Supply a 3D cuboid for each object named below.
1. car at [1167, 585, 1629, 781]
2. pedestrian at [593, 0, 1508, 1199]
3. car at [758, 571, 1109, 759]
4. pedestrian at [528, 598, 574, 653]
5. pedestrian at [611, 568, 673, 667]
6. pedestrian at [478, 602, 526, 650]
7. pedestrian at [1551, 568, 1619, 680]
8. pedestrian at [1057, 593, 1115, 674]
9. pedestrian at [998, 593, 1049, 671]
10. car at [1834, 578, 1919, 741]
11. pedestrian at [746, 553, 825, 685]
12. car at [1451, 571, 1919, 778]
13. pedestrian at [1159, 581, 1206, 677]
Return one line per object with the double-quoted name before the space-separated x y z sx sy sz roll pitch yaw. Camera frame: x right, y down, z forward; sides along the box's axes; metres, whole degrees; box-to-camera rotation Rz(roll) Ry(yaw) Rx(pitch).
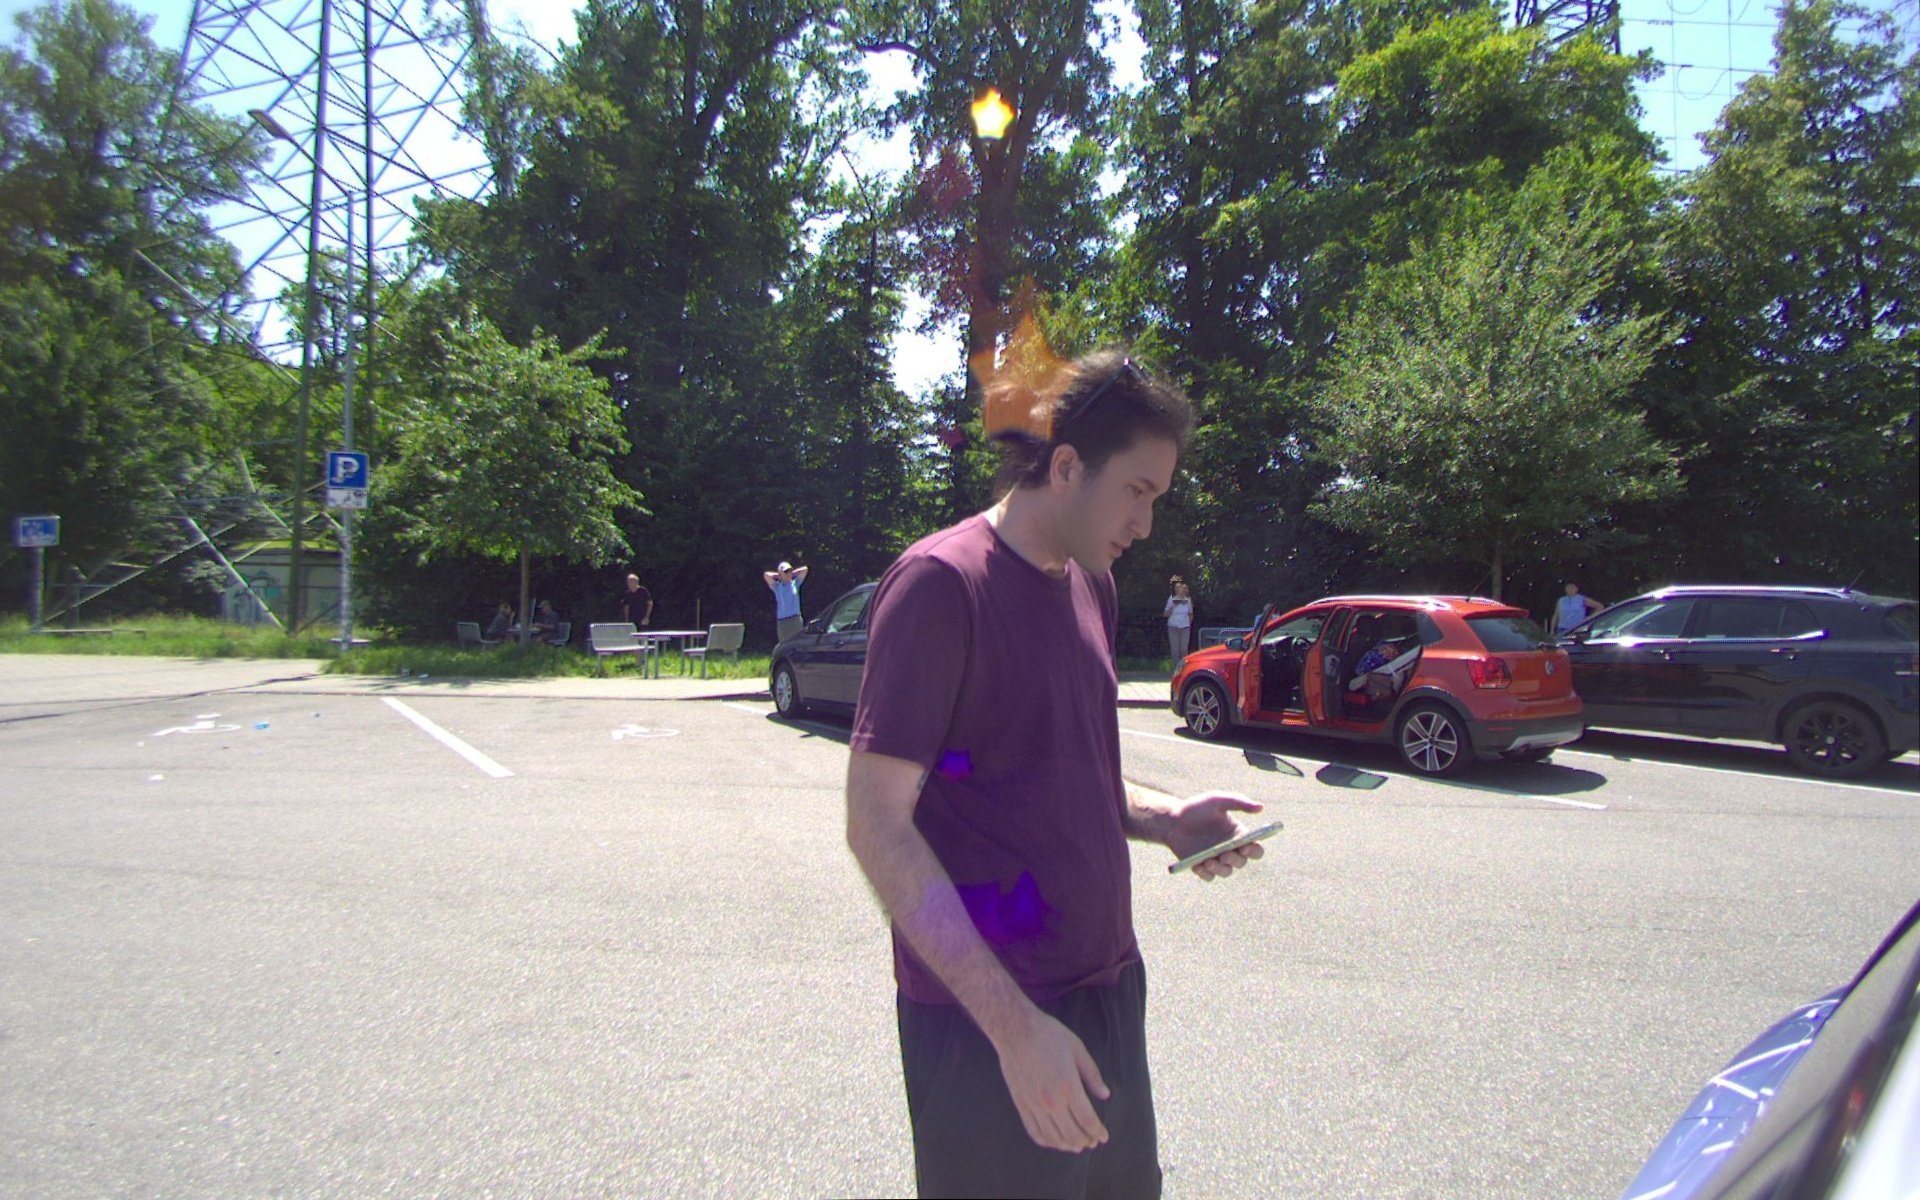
"car" 3.936 0.621 9.653 1.746 1.475 3.710 1 0 -33
"pedestrian" 0.139 0.456 1.360 0.828 1.797 0.926 0 -1 45
"car" -0.475 0.545 10.701 1.809 1.588 4.017 1 0 -35
"pedestrian" -9.556 0.583 23.643 0.796 1.253 0.713 1 -1 -44
"pedestrian" -6.144 0.325 19.578 0.708 1.851 0.896 0 -1 26
"pedestrian" -10.347 0.572 22.881 0.796 1.062 0.714 1 -1 -43
"pedestrian" 9.324 0.345 15.091 0.713 1.614 0.797 0 -1 44
"pedestrian" 2.094 0.547 16.892 0.656 1.311 0.832 1 -1 -17
"pedestrian" 1.066 0.539 17.138 0.656 1.285 0.655 1 -1 -17
"car" 10.938 0.599 9.388 1.745 1.612 3.972 1 0 -32
"pedestrian" -2.447 0.255 14.210 0.786 1.784 0.809 1 -1 -39
"car" 7.162 0.575 9.797 1.807 1.612 3.967 1 0 -38
"pedestrian" 3.856 0.483 17.514 0.764 1.614 0.806 0 -1 15
